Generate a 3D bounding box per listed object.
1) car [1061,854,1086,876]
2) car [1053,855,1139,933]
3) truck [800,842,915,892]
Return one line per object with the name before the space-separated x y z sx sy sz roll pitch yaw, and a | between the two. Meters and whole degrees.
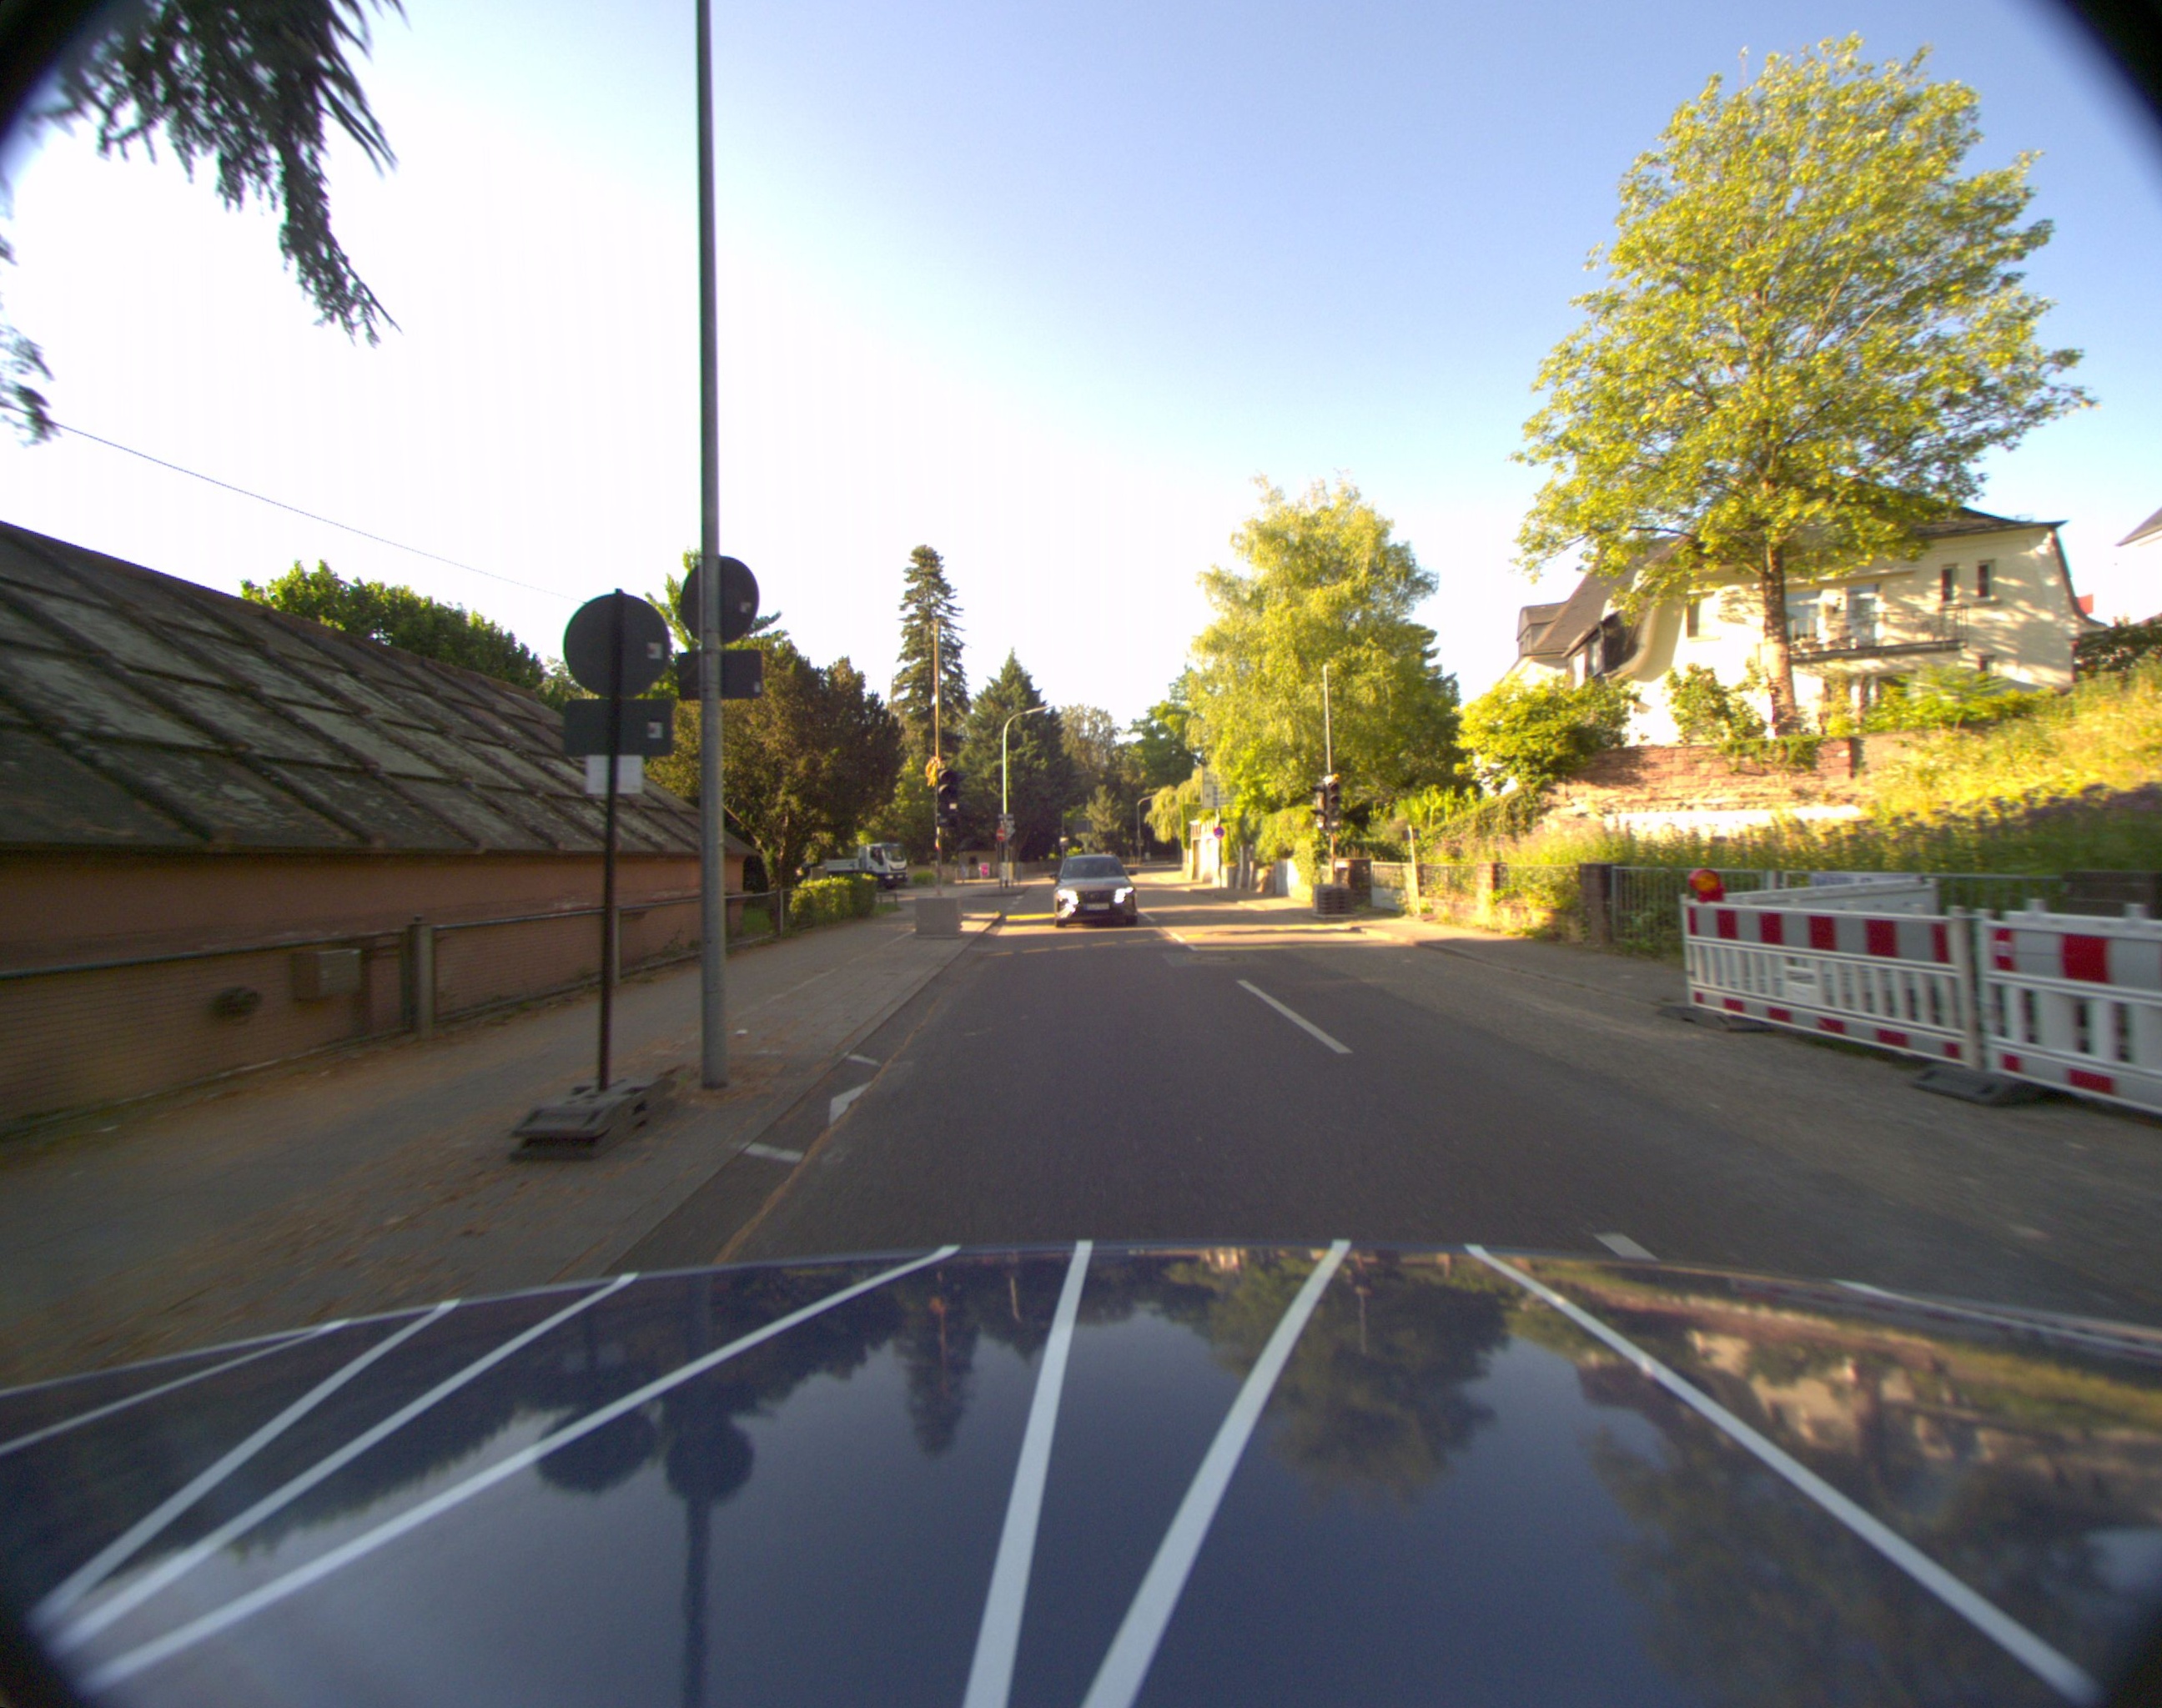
car | -0.535 0.795 54.356 1.662 1.468 3.683 -2 0 0
car | 0.240 0.880 18.618 1.788 1.639 4.473 -1 0 -3
truck | -13.677 0.797 46.467 6.497 2.736 2.374 -3 0 20
